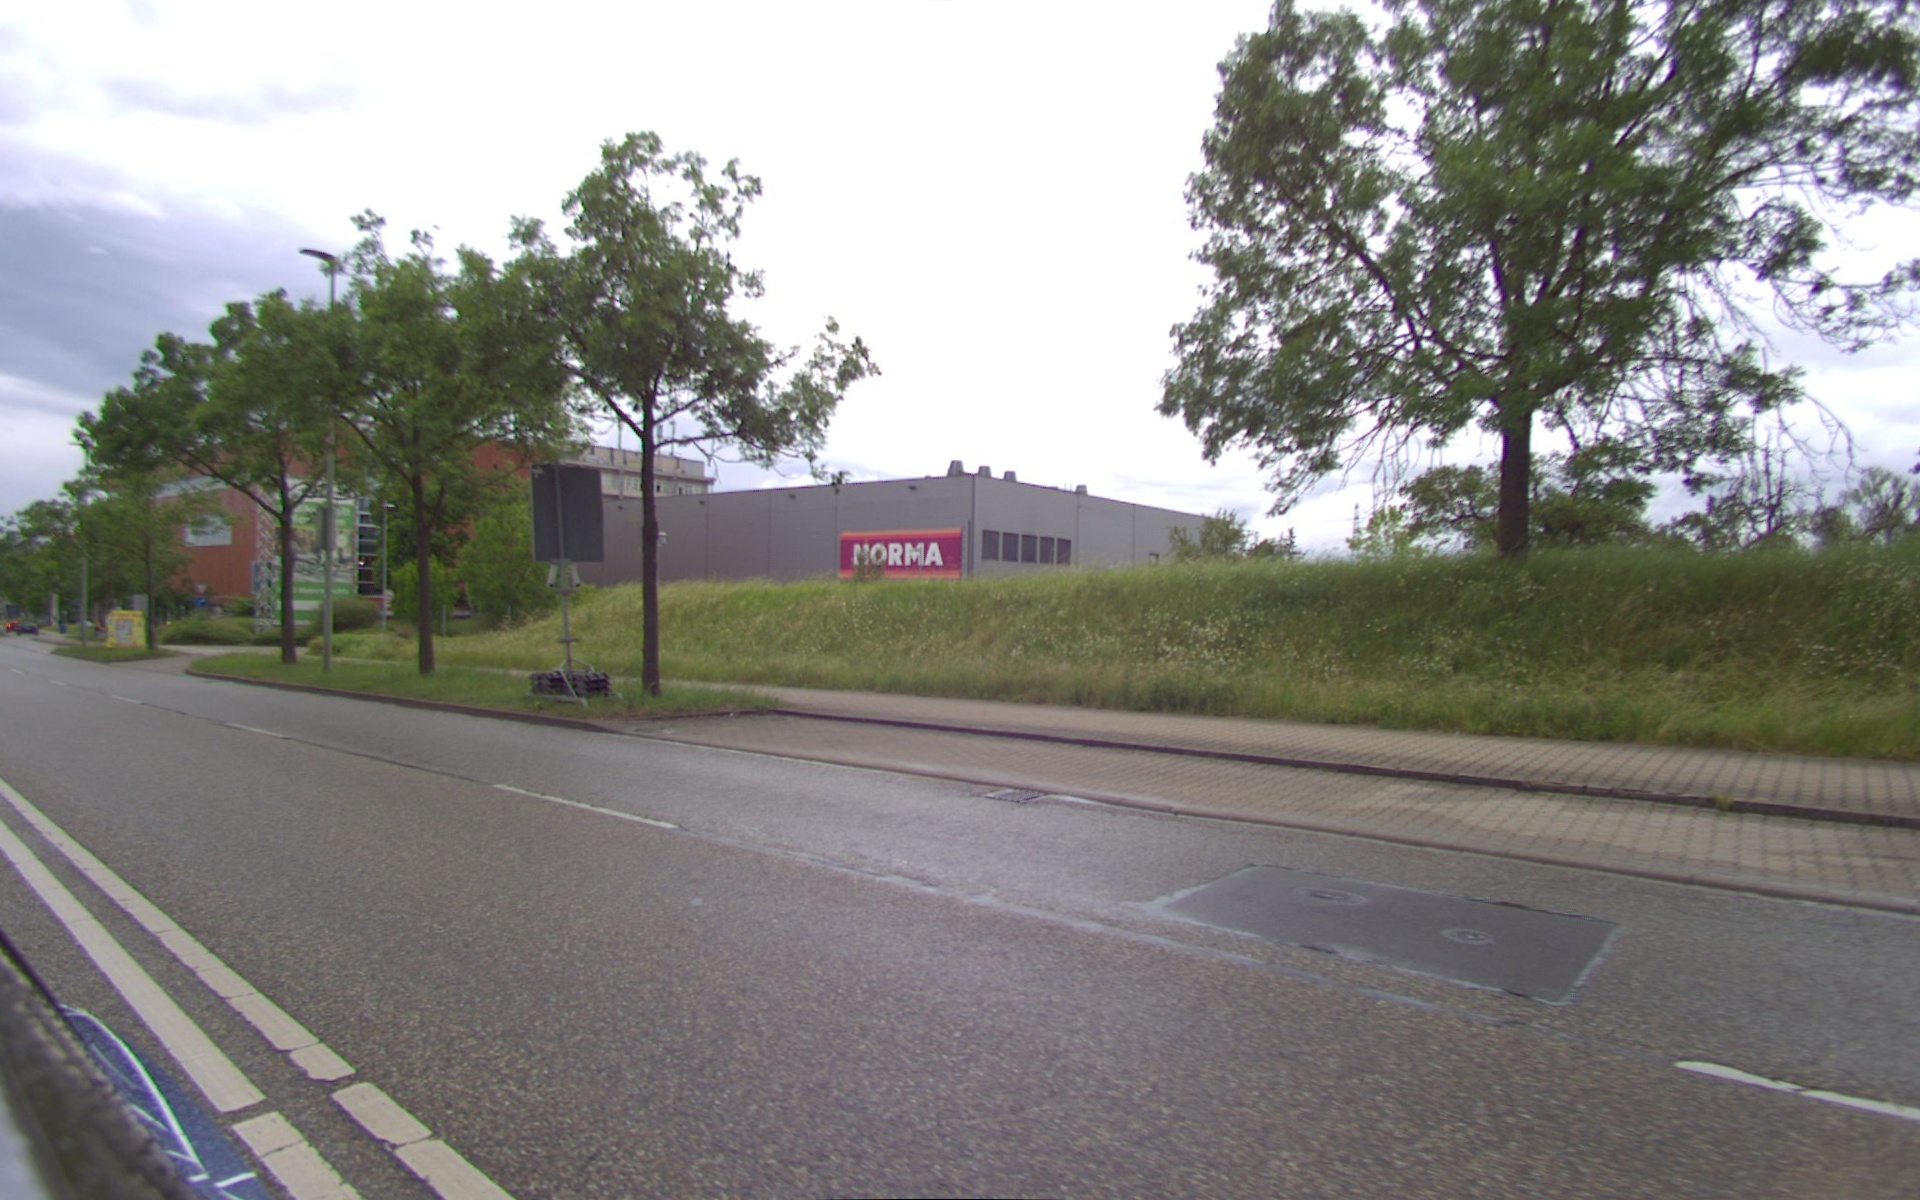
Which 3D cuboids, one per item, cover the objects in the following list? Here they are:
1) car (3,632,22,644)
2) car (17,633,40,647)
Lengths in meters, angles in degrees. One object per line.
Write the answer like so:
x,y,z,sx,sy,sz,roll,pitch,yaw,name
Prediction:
-124.534,4.966,133.007,1.656,1.518,4.219,2,-3,-44,car
-102.724,4.426,111.577,1.716,1.465,4.003,3,-3,-43,car
